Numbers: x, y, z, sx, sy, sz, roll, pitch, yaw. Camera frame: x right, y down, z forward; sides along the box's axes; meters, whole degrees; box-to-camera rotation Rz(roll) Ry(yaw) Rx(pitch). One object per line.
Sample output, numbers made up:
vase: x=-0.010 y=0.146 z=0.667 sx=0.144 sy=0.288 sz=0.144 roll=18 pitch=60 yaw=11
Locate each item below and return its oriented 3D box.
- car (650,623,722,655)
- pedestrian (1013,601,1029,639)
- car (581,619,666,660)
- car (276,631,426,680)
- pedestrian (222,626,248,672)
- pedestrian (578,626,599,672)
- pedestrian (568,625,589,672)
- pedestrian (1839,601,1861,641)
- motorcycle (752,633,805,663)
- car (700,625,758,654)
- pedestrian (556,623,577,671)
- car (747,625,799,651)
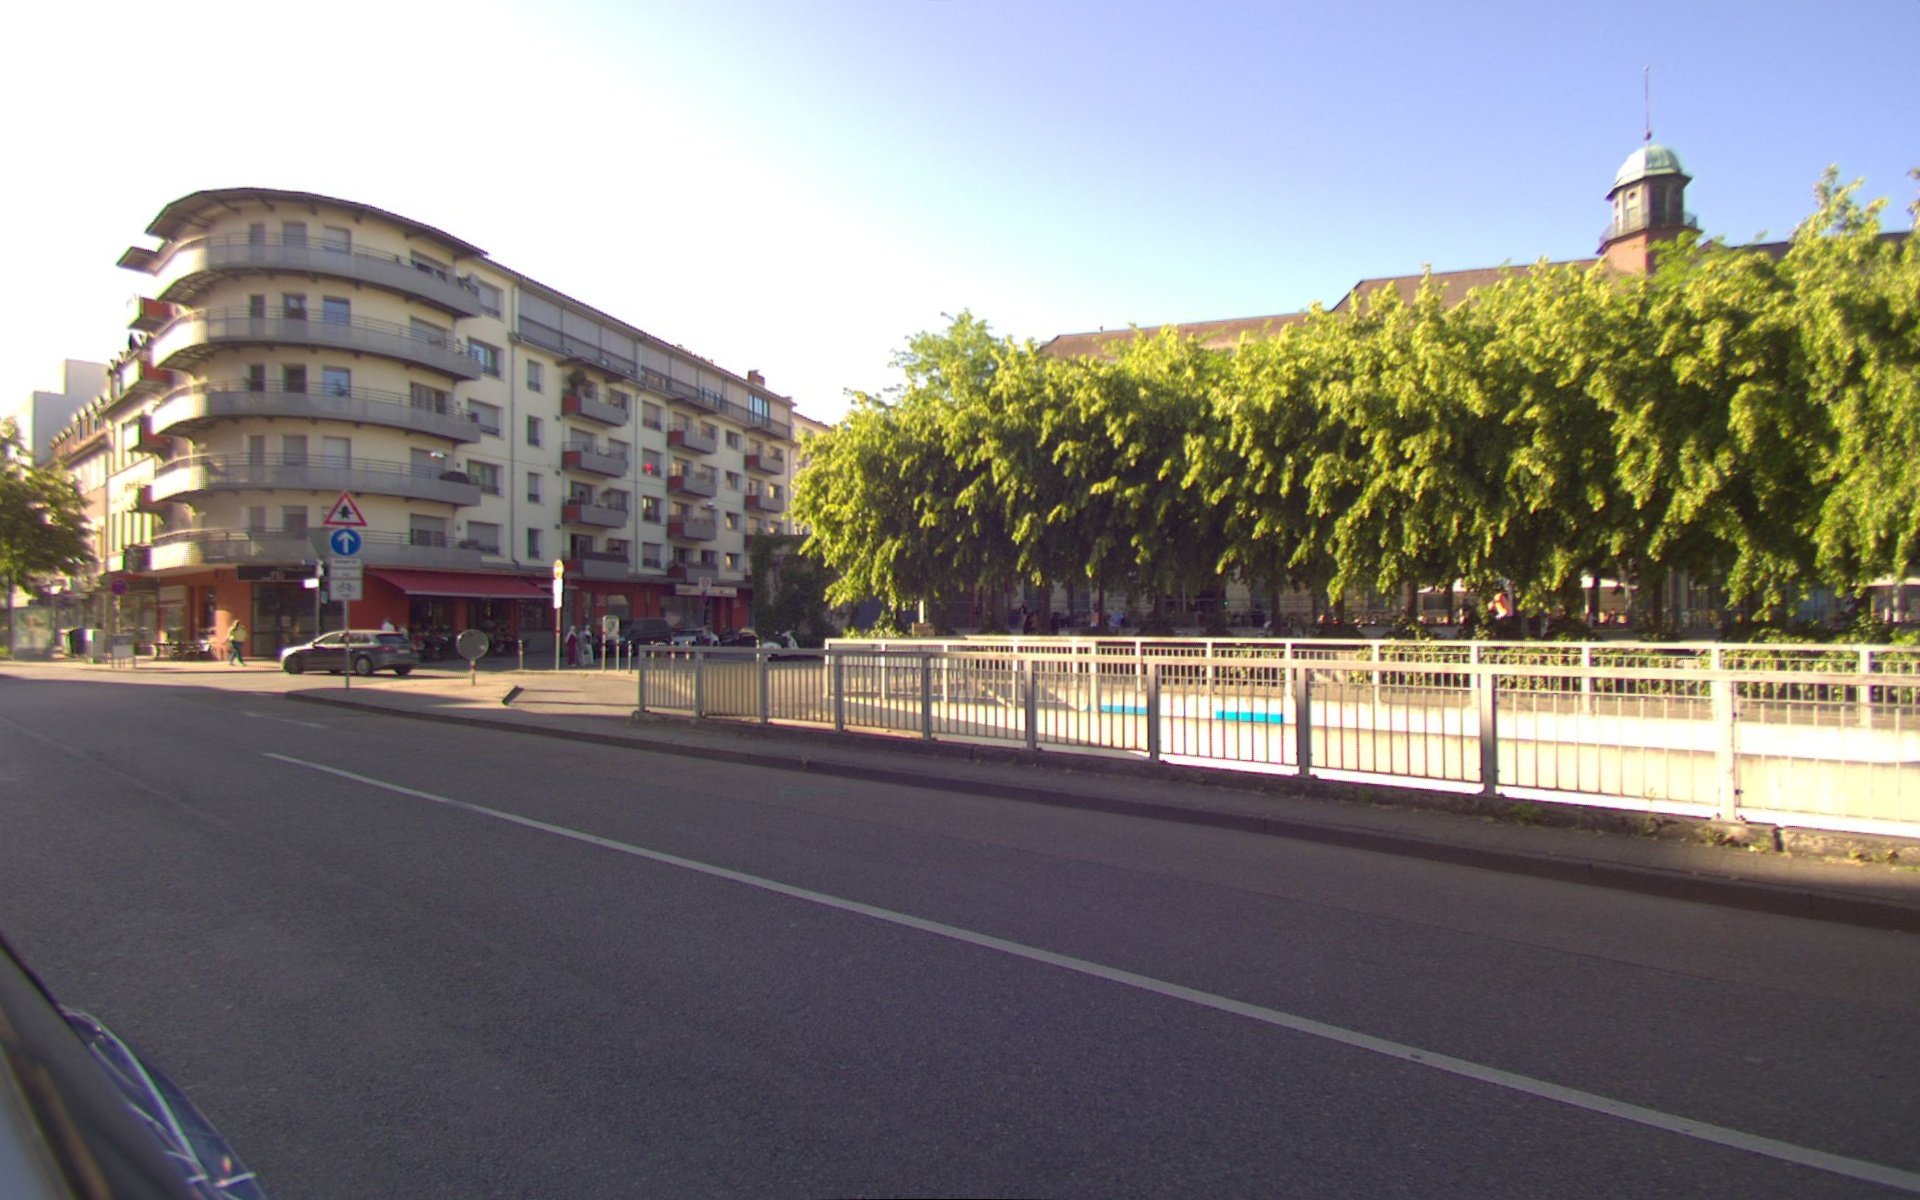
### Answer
car: x=-15.472 y=2.198 z=57.369 sx=1.938 sy=1.633 sz=4.272 roll=-1 pitch=-1 yaw=17
pedestrian: x=2.961 y=0.982 z=49.251 sx=0.578 sy=1.806 sz=0.597 roll=-1 pitch=0 yaw=21
car: x=-17.110 y=1.973 z=51.714 sx=1.938 sy=1.927 sz=4.402 roll=-1 pitch=-1 yaw=17
car: x=-19.039 y=1.734 z=31.693 sx=3.888 sy=1.407 sz=1.800 roll=-1 pitch=-1 yaw=14
pedestrian: x=-26.645 y=1.798 z=37.201 sx=0.792 sy=1.634 sz=0.563 roll=-2 pitch=-1 yaw=38
pedestrian: x=-14.620 y=1.922 z=39.844 sx=0.574 sy=1.806 sz=0.601 roll=-1 pitch=0 yaw=1
pedestrian: x=-14.799 y=1.875 z=39.258 sx=0.574 sy=1.806 sz=0.602 roll=-1 pitch=0 yaw=-4
pedestrian: x=40.133 y=0.948 z=45.634 sx=0.599 sy=1.806 sz=0.576 roll=-1 pitch=0 yaw=31
motorcycle: x=-7.093 y=1.864 z=39.530 sx=1.898 sy=1.110 sz=0.684 roll=-1 pitch=-1 yaw=-27
car: x=-14.261 y=2.435 z=62.654 sx=1.776 sy=1.633 sz=3.914 roll=-1 pitch=-1 yaw=17
pedestrian: x=-15.011 y=1.788 z=38.600 sx=0.574 sy=1.806 sz=0.602 roll=-1 pitch=0 yaw=-4
car: x=-12.524 y=2.518 z=67.874 sx=1.777 sy=1.633 sz=3.911 roll=-1 pitch=-1 yaw=18
